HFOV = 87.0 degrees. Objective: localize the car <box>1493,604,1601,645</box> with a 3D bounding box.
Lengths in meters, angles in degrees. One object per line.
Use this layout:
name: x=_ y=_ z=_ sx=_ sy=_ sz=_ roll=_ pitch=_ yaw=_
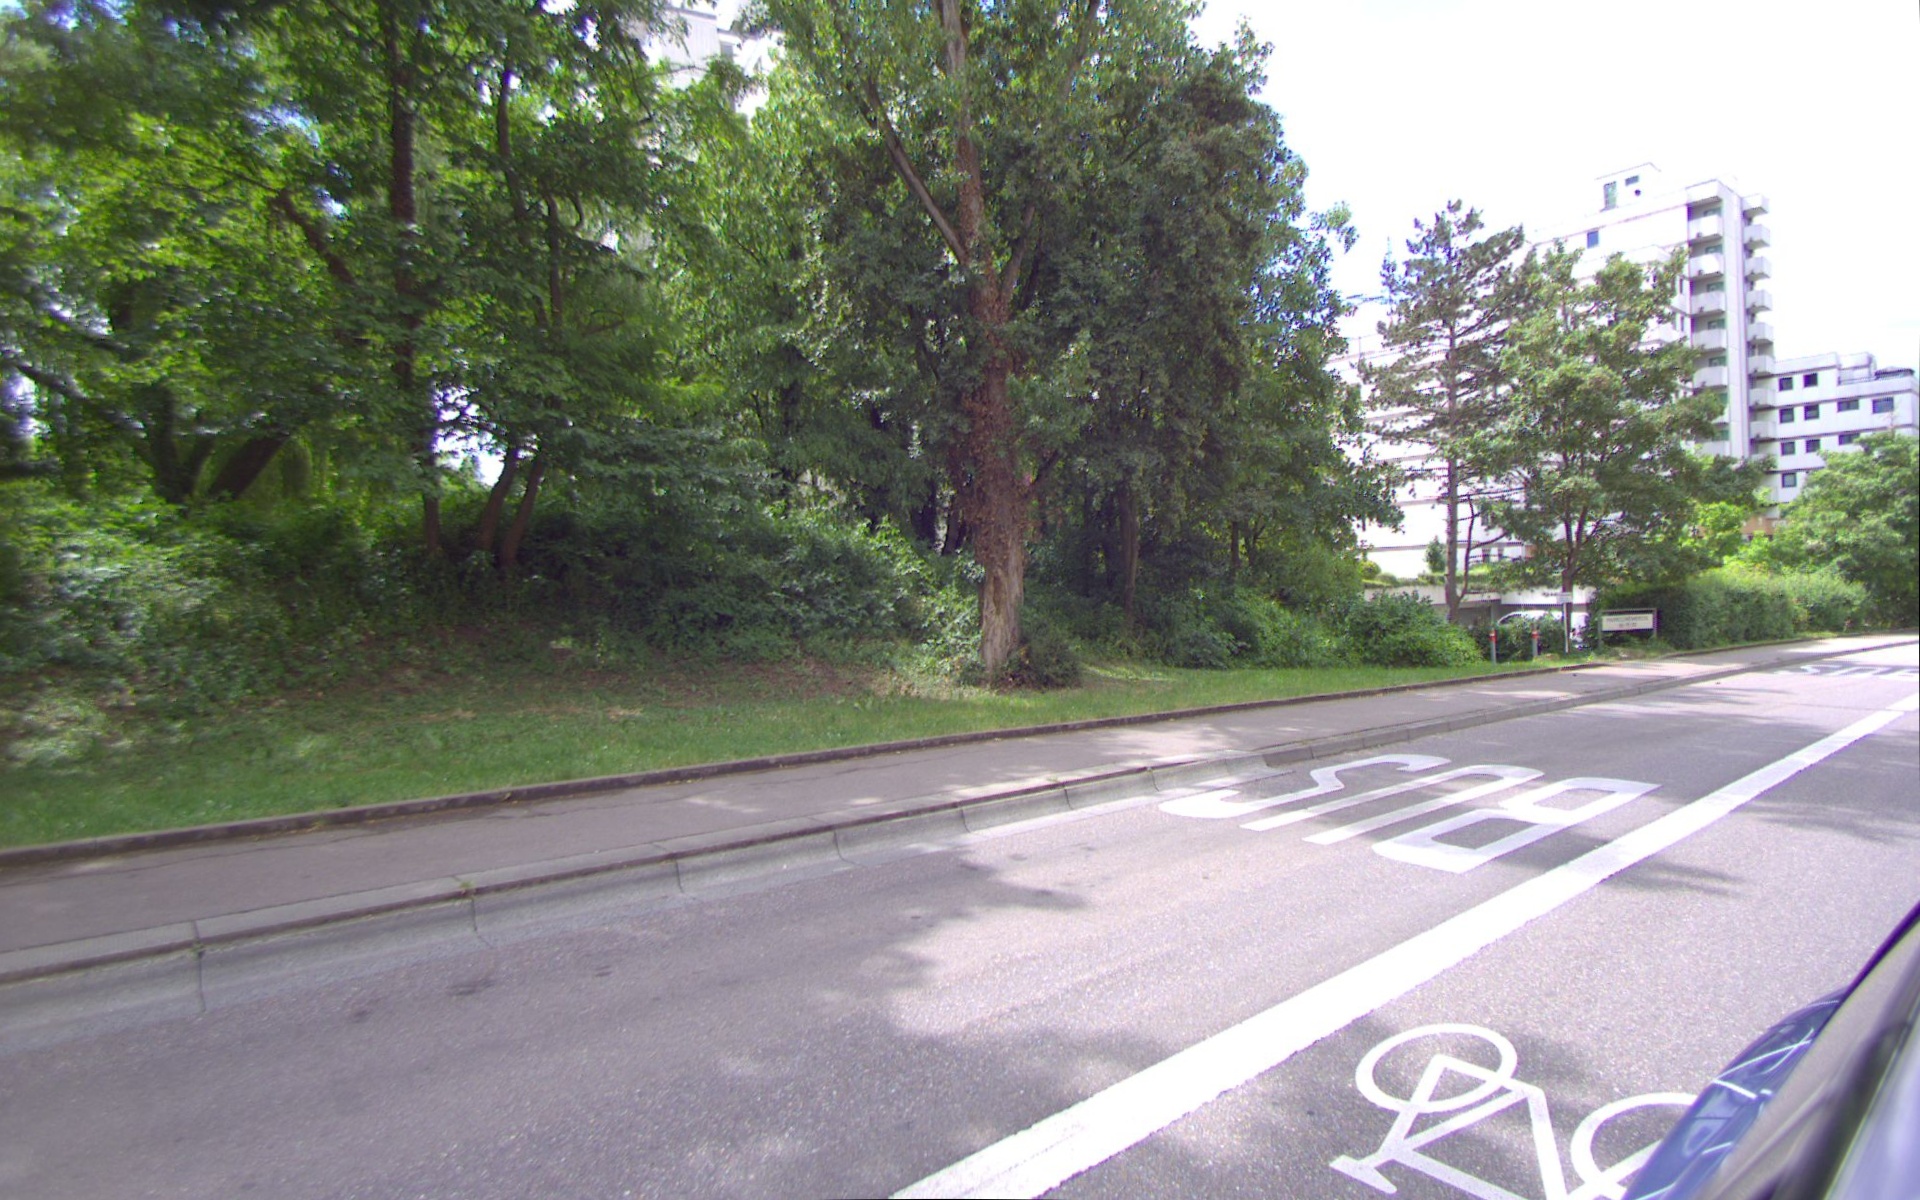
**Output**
car: x=31.057 y=1.225 z=53.635 sx=1.962 sy=2.039 sz=4.549 roll=-1 pitch=0 yaw=-34
